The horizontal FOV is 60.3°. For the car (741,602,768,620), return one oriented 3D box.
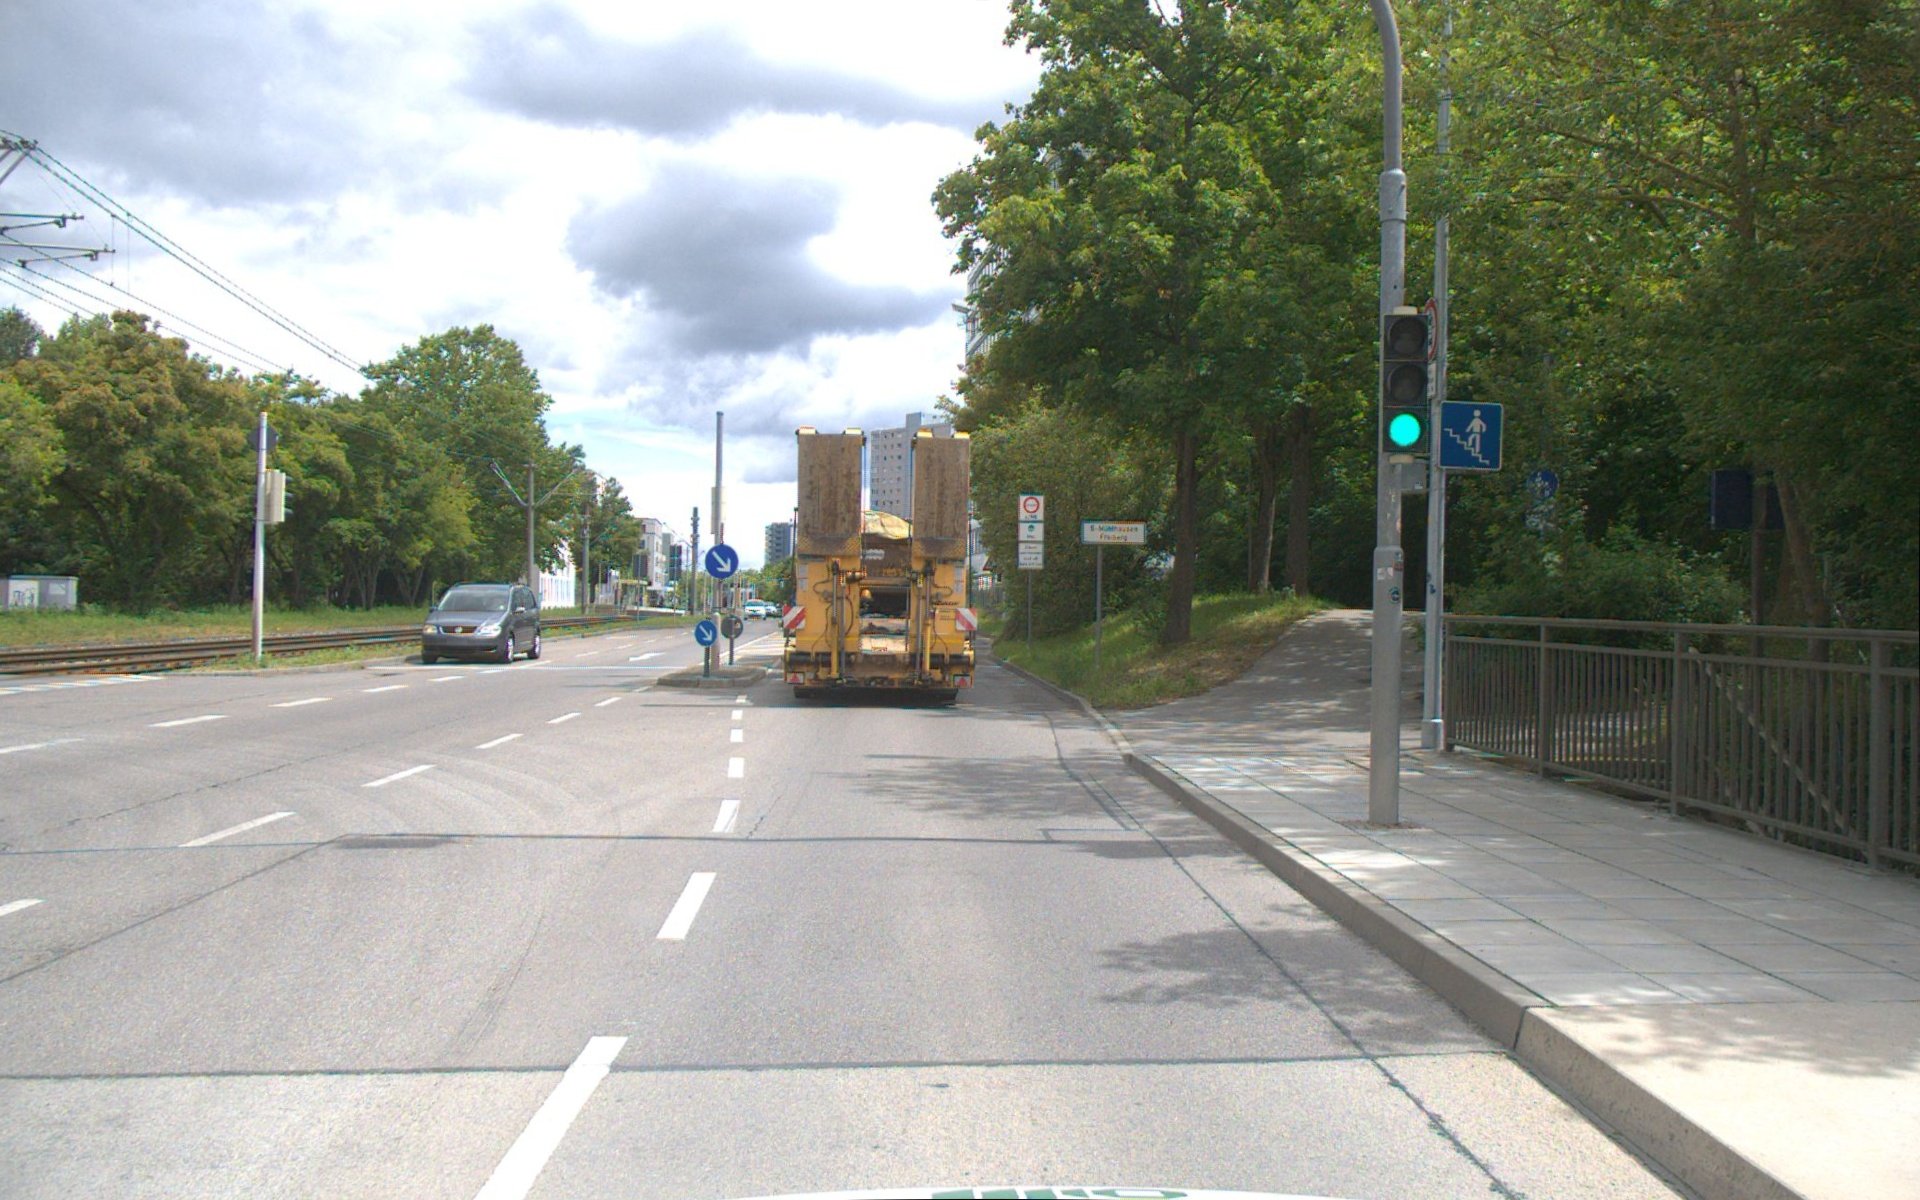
[{"bbox_3d":[-15.766,0.814,126.782,1.748,1.294,4.342,1,0,-3],"label":"car"}]

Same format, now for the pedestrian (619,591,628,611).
[{"bbox_3d":[-35.016,0.087,172.144,0.639,2.049,0.653,3,0,2],"label":"pedestrian"}]

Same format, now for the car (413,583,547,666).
[{"bbox_3d":[-9.977,0.492,34.720,1.748,1.597,4.342,1,0,-3],"label":"car"}]

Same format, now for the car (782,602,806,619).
[{"bbox_3d":[-13.256,0.858,132.365,1.748,1.294,4.342,1,0,-3],"label":"car"}]

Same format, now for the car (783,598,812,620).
[{"bbox_3d":[-12.551,0.685,128.140,1.954,1.646,3.998,3,0,-2],"label":"car"}]

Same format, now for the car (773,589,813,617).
[{"bbox_3d":[-9.430,0.176,93.623,1.954,1.445,3.998,3,0,-3],"label":"car"}]

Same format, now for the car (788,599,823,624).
[{"bbox_3d":[-9.657,0.709,103.613,1.954,1.445,3.998,3,0,-3],"label":"car"}]

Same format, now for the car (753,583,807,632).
[{"bbox_3d":[-7.659,0.312,70.584,1.954,1.959,3.998,3,0,-3],"label":"car"}]

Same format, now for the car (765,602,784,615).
[{"bbox_3d":[-18.733,0.851,167.167,1.749,1.294,4.340,1,0,-5],"label":"car"}]

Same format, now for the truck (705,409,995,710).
[{"bbox_3d":[-1.282,-0.504,27.459,3.247,3.714,12.566,2,0,3],"label":"truck"}]
